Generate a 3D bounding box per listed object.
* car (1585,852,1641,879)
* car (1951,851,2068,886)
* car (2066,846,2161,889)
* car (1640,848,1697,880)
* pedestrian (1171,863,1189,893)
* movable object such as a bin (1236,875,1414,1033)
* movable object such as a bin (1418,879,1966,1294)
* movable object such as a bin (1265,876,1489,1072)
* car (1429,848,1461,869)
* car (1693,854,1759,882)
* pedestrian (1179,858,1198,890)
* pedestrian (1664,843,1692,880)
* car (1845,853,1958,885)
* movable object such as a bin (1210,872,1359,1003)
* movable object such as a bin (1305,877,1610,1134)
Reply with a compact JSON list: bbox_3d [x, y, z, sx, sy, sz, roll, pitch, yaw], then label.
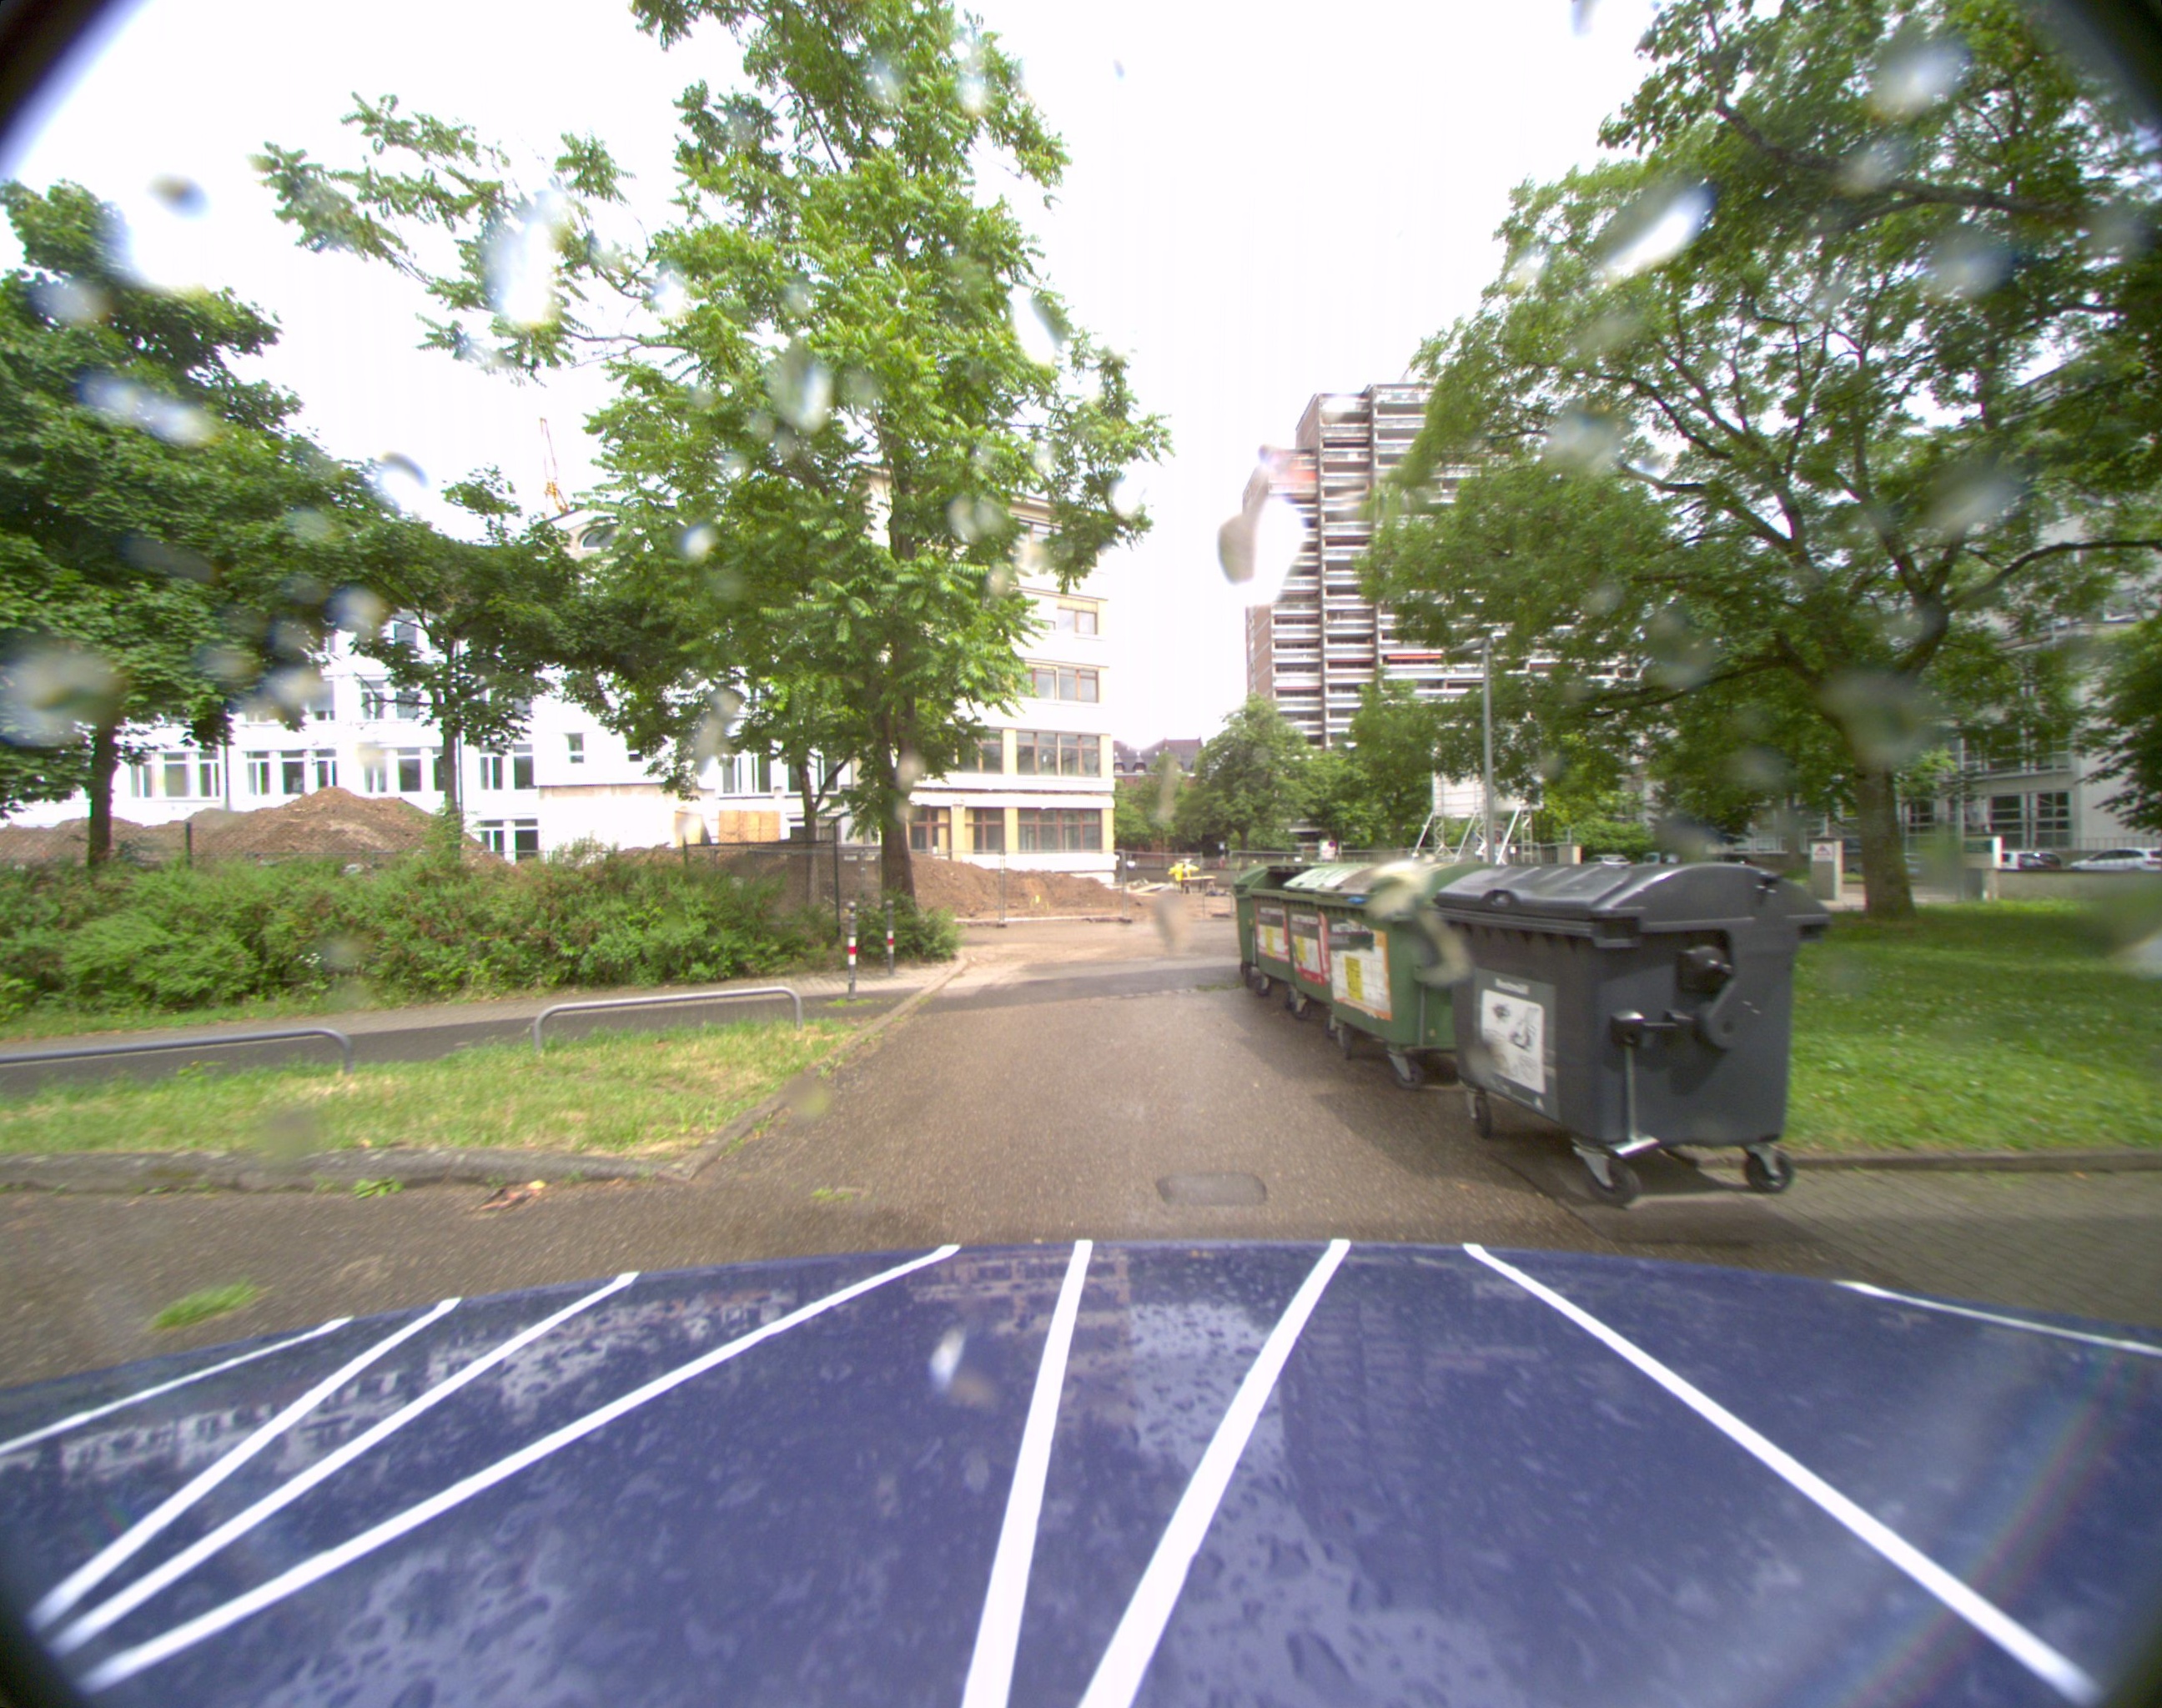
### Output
[{"bbox_3d":[32.358,0.674,46.301,1.855,1.477,4.006,-3,-1,21],"label":"car"},{"bbox_3d":[39.557,0.599,32.480,1.650,1.436,3.395,1,0,20],"label":"car"},{"bbox_3d":[41.325,0.527,29.795,1.704,1.594,3.395,1,0,20],"label":"car"},{"bbox_3d":[33.423,0.551,43.338,1.618,1.736,3.654,-1,0,22],"label":"car"},{"bbox_3d":[5.049,1.234,38.910,0.650,1.499,0.623,0,-1,-40],"label":"pedestrian"},{"bbox_3d":[2.508,0.985,8.075,1.363,1.462,1.465,-2,-1,0],"label":"movable object such as a bin"},{"bbox_3d":[2.567,0.884,3.502,1.363,1.462,1.366,-2,-1,0],"label":"movable object such as a bin"},{"bbox_3d":[2.469,0.955,6.603,1.363,1.462,1.352,-2,-1,0],"label":"movable object such as a bin"},{"bbox_3d":[27.268,0.339,57.020,1.855,1.477,4.006,-3,-1,21],"label":"car"},{"bbox_3d":[34.898,0.717,41.193,1.618,1.419,3.654,-1,0,22],"label":"car"},{"bbox_3d":[5.684,1.066,40.007,0.775,1.663,0.714,-1,0,27],"label":"pedestrian"},{"bbox_3d":[32.852,0.414,41.846,0.932,2.002,0.858,-1,0,-24],"label":"pedestrian"},{"bbox_3d":[38.499,0.672,35.794,1.720,1.406,4.005,1,0,15],"label":"car"},{"bbox_3d":[2.501,0.986,9.630,1.412,1.462,1.561,-2,-1,0],"label":"movable object such as a bin"},{"bbox_3d":[2.449,0.926,5.224,1.363,1.462,1.366,-2,-1,0],"label":"movable object such as a bin"}]
